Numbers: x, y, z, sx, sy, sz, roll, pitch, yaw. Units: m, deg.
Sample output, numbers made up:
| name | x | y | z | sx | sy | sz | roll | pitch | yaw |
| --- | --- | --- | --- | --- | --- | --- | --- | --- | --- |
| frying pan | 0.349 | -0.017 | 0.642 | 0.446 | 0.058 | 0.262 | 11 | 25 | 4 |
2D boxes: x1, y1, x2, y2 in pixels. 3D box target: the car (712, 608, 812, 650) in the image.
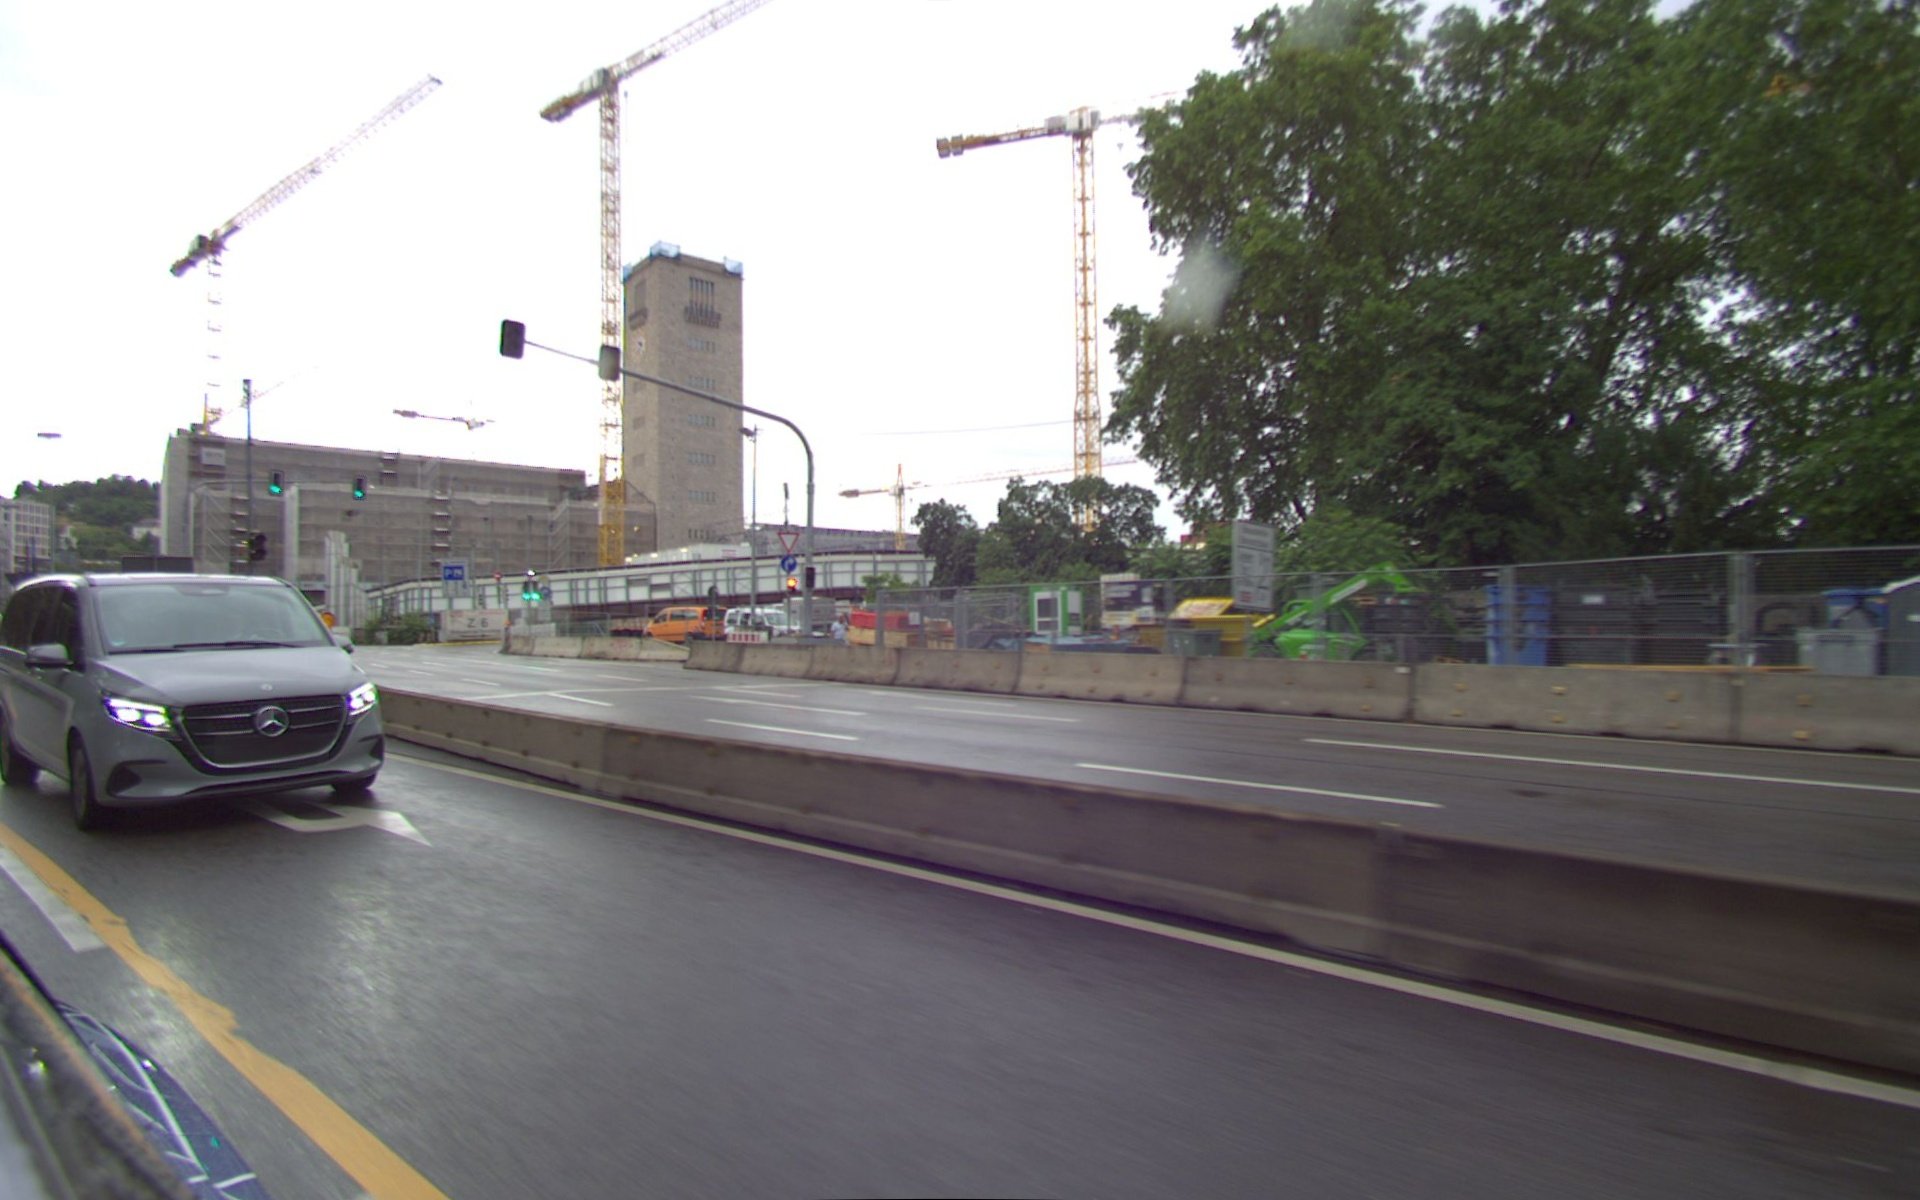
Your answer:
| name | x | y | z | sx | sy | sz | roll | pitch | yaw |
| --- | --- | --- | --- | --- | --- | --- | --- | --- | --- |
| car | -8.851 | 1.279 | 45.045 | 4.796 | 1.775 | 1.825 | -1 | -2 | 42 |

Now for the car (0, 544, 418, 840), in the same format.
| name | x | y | z | sx | sy | sz | roll | pitch | yaw |
| --- | --- | --- | --- | --- | --- | --- | --- | --- | --- |
| car | -6.947 | 0.654 | 8.891 | 5.352 | 1.870 | 1.974 | -2 | -1 | 40 |

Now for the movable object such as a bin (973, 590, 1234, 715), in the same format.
| name | x | y | z | sx | sy | sz | roll | pitch | yaw |
| --- | --- | --- | --- | --- | --- | --- | --- | --- | --- |
| movable object such as a bin | 4.040 | 1.411 | 29.051 | 6.386 | 3.152 | 3.890 | -1 | -2 | 42 |

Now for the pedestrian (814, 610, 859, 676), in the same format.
| name | x | y | z | sx | sy | sz | roll | pitch | yaw |
| --- | --- | --- | --- | --- | --- | --- | --- | --- | --- |
| pedestrian | -3.940 | 1.348 | 32.174 | 1.153 | 2.029 | 1.187 | -1 | -1 | -21 |

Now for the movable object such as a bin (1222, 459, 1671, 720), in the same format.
| name | x | y | z | sx | sy | sz | roll | pitch | yaw |
| --- | --- | --- | --- | --- | --- | --- | --- | --- | --- |
| movable object such as a bin | 10.949 | -0.081 | 23.291 | 8.357 | 4.839 | 4.699 | -1 | -2 | 42 |

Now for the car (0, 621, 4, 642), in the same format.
| name | x | y | z | sx | sy | sz | roll | pitch | yaw |
| --- | --- | --- | --- | --- | --- | --- | --- | --- | --- |
| car | -76.998 | 2.455 | 79.944 | 4.573 | 1.665 | 1.808 | -1 | -3 | 43 |

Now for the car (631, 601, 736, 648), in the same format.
| name | x | y | z | sx | sy | sz | roll | pitch | yaw |
| --- | --- | --- | --- | --- | --- | --- | --- | --- | --- |
| car | -13.400 | 1.173 | 48.854 | 5.575 | 2.117 | 1.974 | -1 | -4 | 39 |

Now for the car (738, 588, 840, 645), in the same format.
| name | x | y | z | sx | sy | sz | roll | pitch | yaw |
| --- | --- | --- | --- | --- | --- | --- | --- | --- | --- |
| car | -9.725 | 0.967 | 57.237 | 6.165 | 3.089 | 2.250 | -1 | -2 | 41 |
